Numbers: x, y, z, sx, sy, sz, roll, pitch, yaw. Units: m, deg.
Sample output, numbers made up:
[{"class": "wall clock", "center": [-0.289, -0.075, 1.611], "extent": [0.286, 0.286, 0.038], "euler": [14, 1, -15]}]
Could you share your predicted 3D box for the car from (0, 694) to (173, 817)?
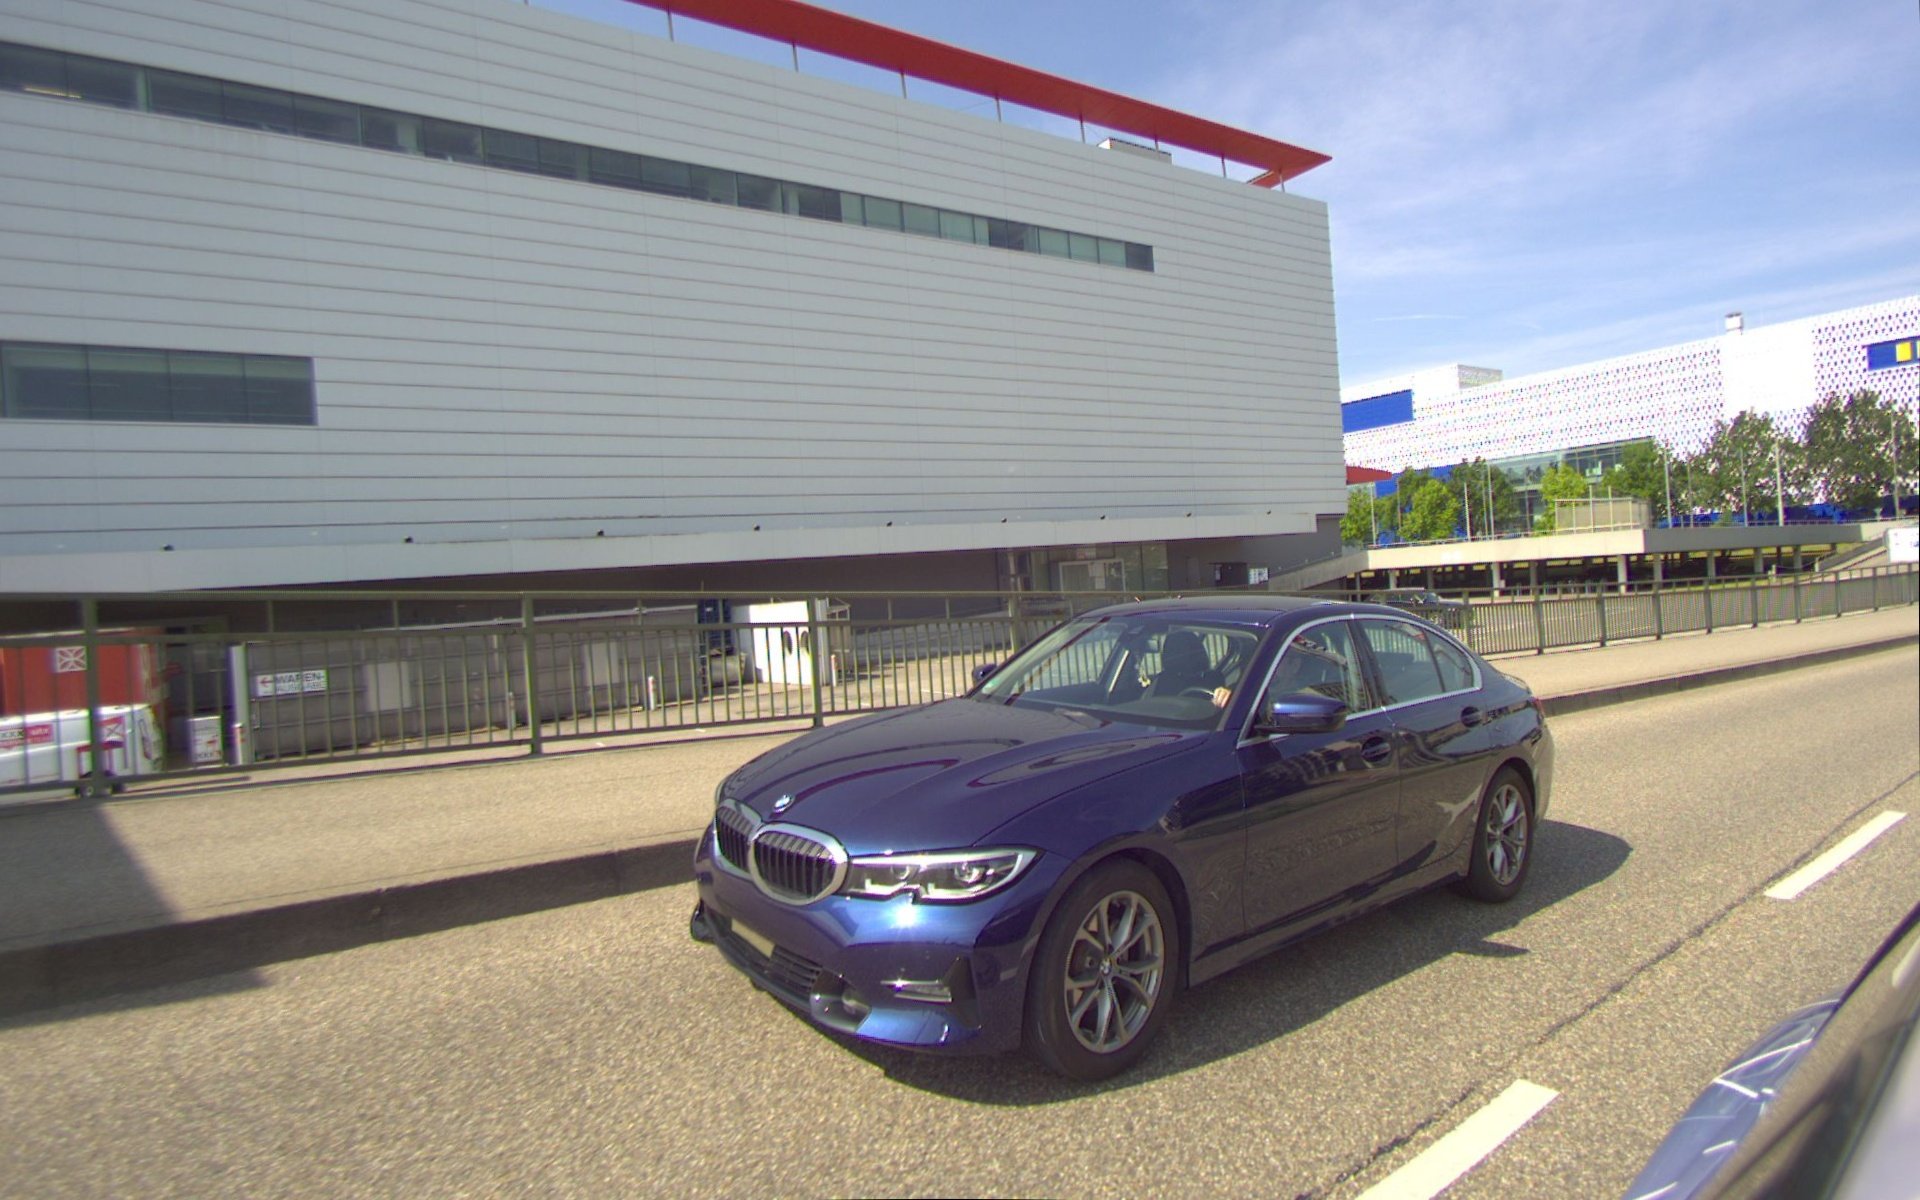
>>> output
[{"class": "car", "center": [-20.346, 3.412, 21.132], "extent": [5.899, 2.029, 2.133], "euler": [-5, 2, -33]}]

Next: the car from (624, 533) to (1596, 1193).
[{"class": "car", "center": [1.026, 0.585, 4.604], "extent": [4.442, 1.501, 1.791], "euler": [-5, 1, -39]}]

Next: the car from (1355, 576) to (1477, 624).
[{"class": "car", "center": [18.875, 0.028, 42.080], "extent": [1.825, 1.753, 4.424], "euler": [-5, 0, -24]}]

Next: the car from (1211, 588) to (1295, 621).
[{"class": "car", "center": [15.070, 0.247, 52.238], "extent": [1.777, 1.393, 3.868], "euler": [-3, -1, -34]}]

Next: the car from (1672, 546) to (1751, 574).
[{"class": "car", "center": [55.209, -2.926, 74.392], "extent": [1.965, 1.857, 4.313], "euler": [-2, 0, -39]}]
